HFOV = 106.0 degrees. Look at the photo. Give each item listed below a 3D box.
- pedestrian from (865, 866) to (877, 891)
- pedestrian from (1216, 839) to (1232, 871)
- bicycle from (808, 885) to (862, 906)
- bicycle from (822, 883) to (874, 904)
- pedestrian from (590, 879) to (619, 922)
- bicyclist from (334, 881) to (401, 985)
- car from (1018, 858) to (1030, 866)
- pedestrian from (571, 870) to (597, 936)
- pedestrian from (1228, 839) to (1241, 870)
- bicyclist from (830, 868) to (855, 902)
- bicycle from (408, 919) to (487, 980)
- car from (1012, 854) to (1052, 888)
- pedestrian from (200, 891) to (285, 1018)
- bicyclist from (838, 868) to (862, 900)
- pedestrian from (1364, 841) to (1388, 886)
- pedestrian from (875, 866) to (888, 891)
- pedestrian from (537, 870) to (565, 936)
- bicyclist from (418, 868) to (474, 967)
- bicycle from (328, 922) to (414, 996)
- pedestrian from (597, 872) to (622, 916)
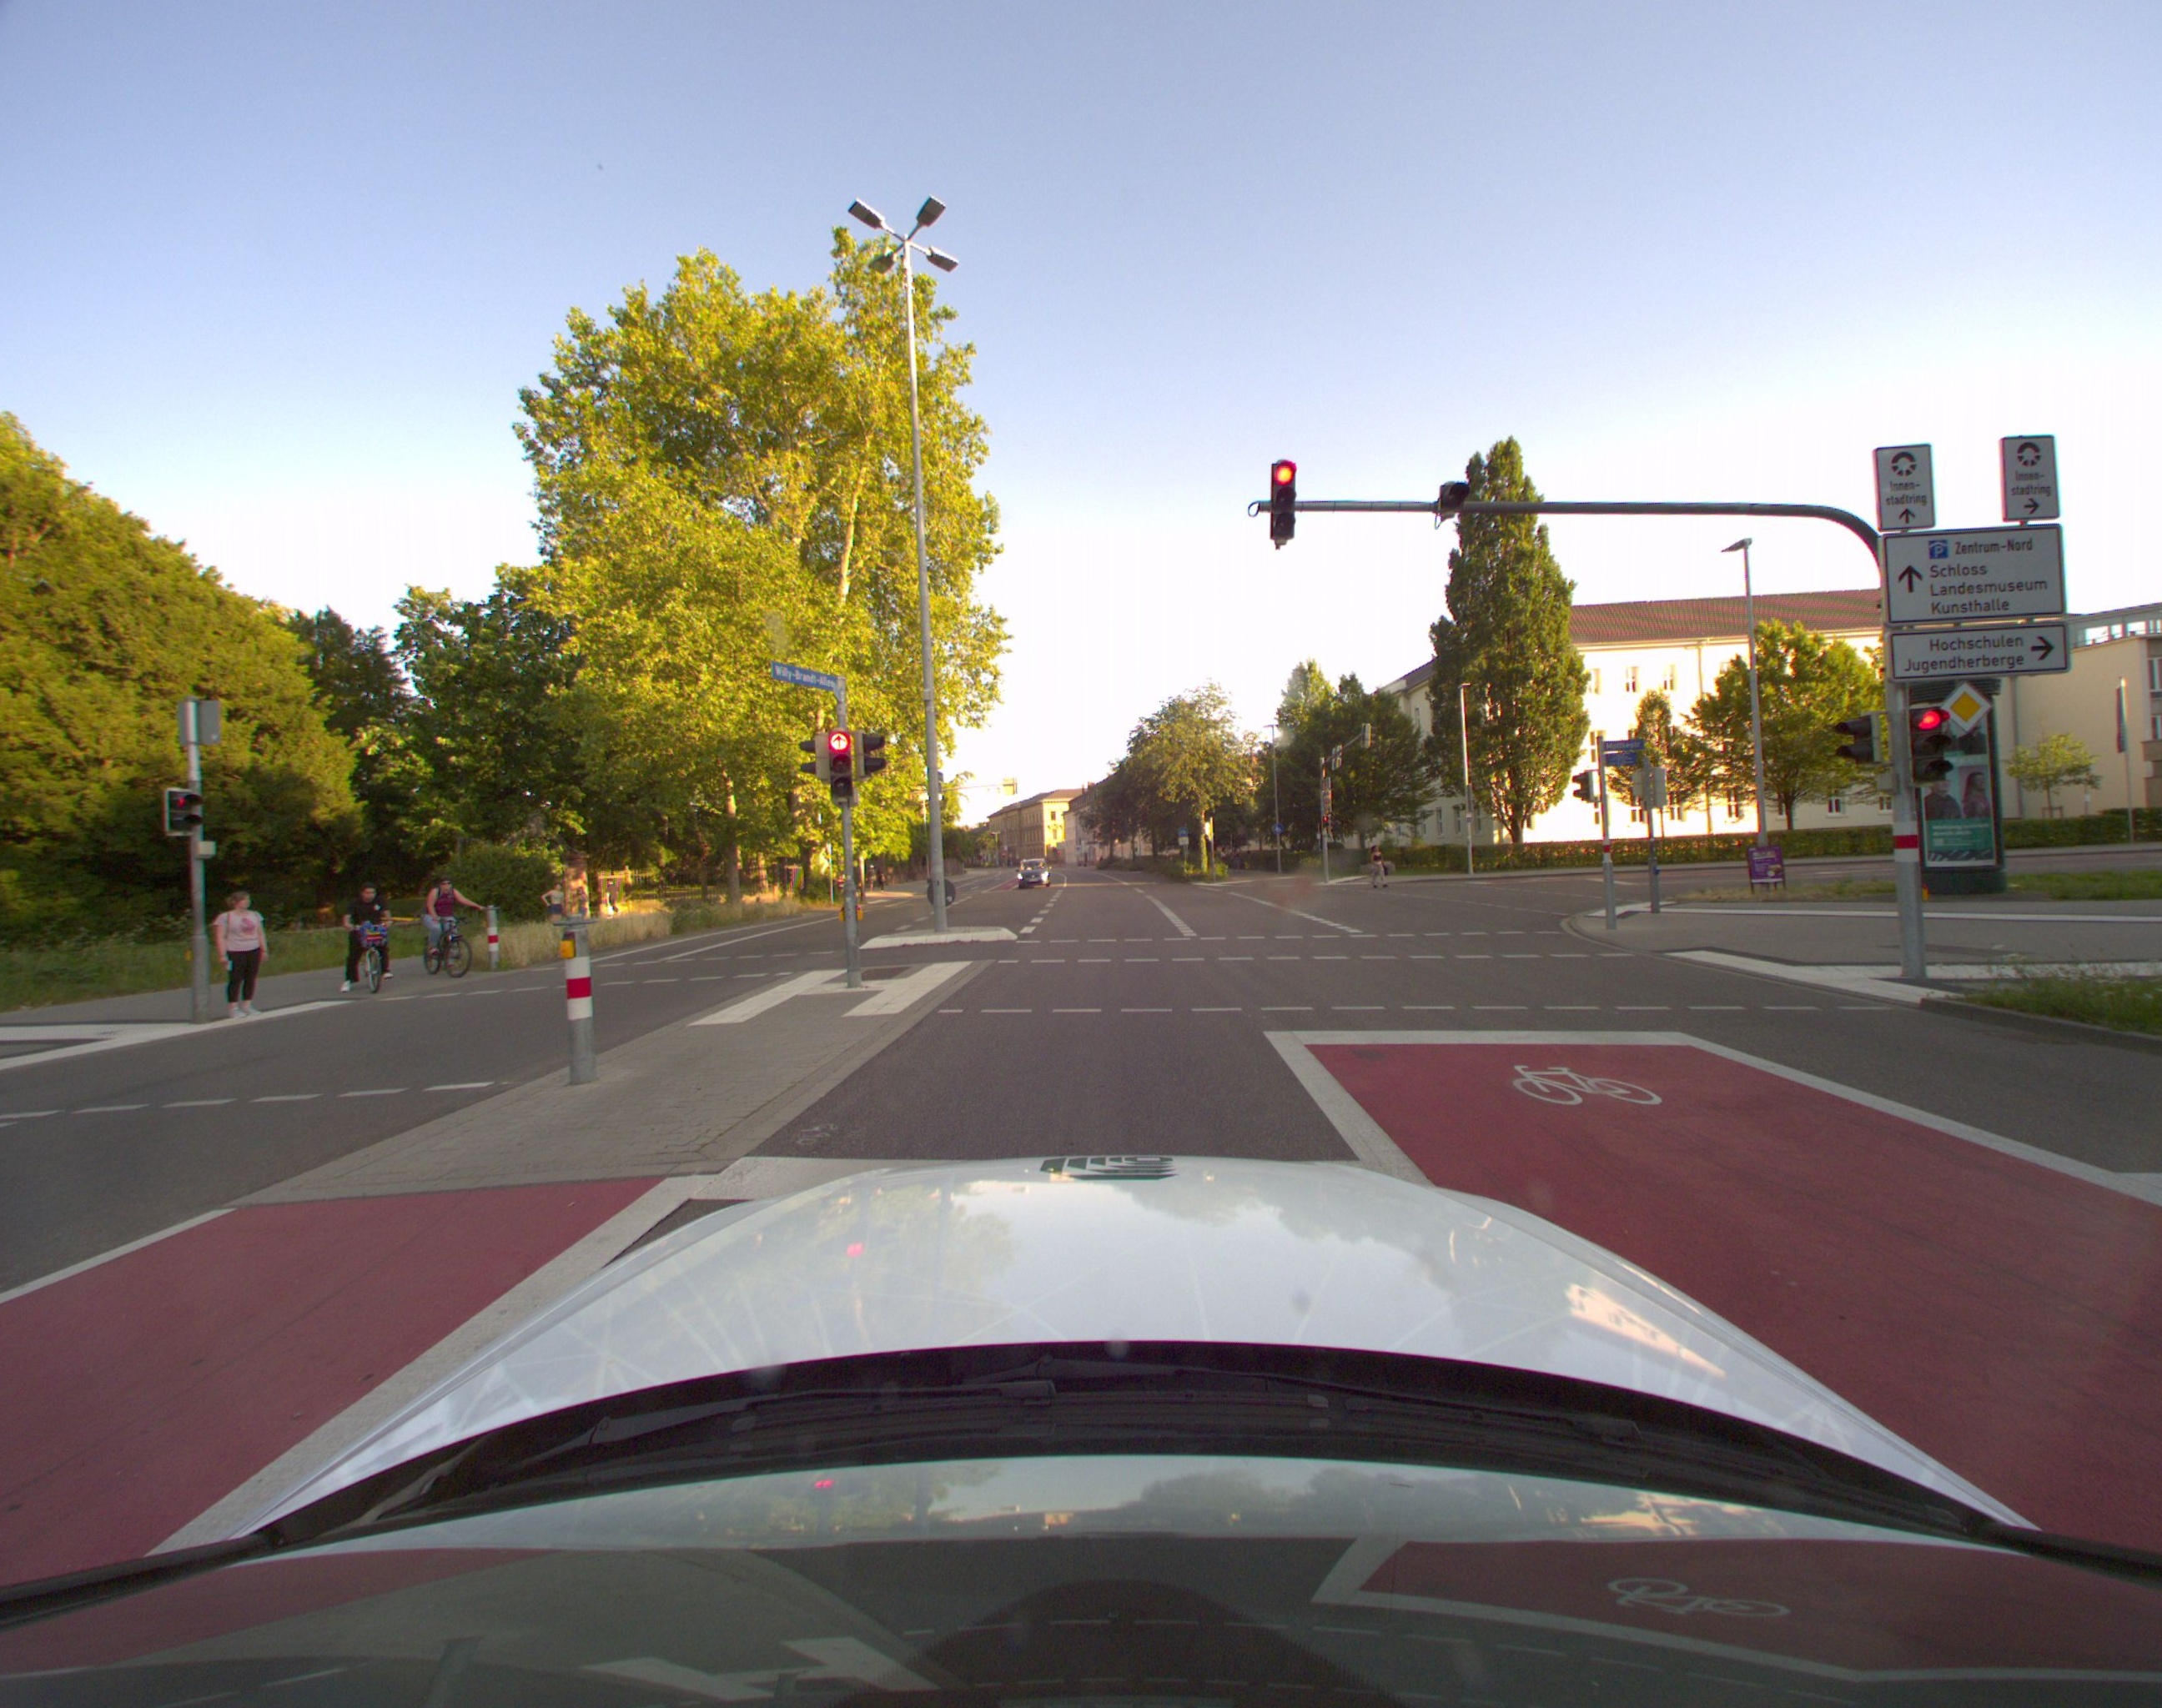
[{"bbox_3d":[-13.743,1.610,53.257,0.533,1.596,0.591,-3,0,1],"label":"pedestrian"},{"bbox_3d":[9.243,0.058,52.544,0.867,2.013,0.723,-2,0,1],"label":"pedestrian"},{"bbox_3d":[-12.296,2.063,40.750,2.420,0.924,0.775,-3,0,2],"label":"bicycle"},{"bbox_3d":[-12.145,2.061,42.456,2.420,0.924,0.775,-3,0,2],"label":"bicycle"},{"bbox_3d":[-23.089,2.229,39.498,0.759,2.013,1.075,-2,0,-5],"label":"pedestrian"},{"bbox_3d":[-11.912,1.302,13.604,0.631,1.649,0.634,-3,-1,32],"label":"bicyclist"},{"bbox_3d":[-11.901,1.607,170.255,1.821,1.588,3.983,-4,0,-12],"label":"car"},{"bbox_3d":[-15.559,1.527,25.491,0.598,2.013,0.634,-1,-1,-38],"label":"pedestrian"},{"bbox_3d":[10.017,0.025,53.005,0.633,2.013,0.720,-2,0,-2],"label":"pedestrian"},{"bbox_3d":[-11.920,1.556,40.730,0.954,1.631,0.753,-3,0,2],"label":"bicyclist"},{"bbox_3d":[-11.861,1.754,15.227,1.749,1.030,0.583,-3,0,32],"label":"bicycle"},{"bbox_3d":[-2.768,0.947,46.935,1.843,1.720,4.296,-5,0,1],"label":"car"},{"bbox_3d":[-11.770,1.393,11.443,0.604,1.695,0.499,-3,0,3],"label":"pedestrian"},{"bbox_3d":[-12.022,1.564,42.464,0.954,1.631,0.753,-3,0,2],"label":"bicyclist"},{"bbox_3d":[10.918,0.341,30.142,0.598,1.636,0.691,-2,0,-3],"label":"pedestrian"},{"bbox_3d":[-13.028,1.590,53.146,0.597,1.573,0.646,-3,0,1],"label":"pedestrian"},{"bbox_3d":[-16.598,1.511,25.497,0.654,2.013,0.599,-1,-1,-37],"label":"pedestrian"},{"bbox_3d":[-11.885,1.168,15.244,0.631,1.780,0.580,-3,-1,32],"label":"bicyclist"},{"bbox_3d":[-11.830,1.720,13.557,1.548,1.111,0.637,-3,0,32],"label":"bicycle"},{"bbox_3d":[-22.152,1.892,38.299,0.636,2.013,0.702,-3,0,7],"label":"pedestrian"}]
